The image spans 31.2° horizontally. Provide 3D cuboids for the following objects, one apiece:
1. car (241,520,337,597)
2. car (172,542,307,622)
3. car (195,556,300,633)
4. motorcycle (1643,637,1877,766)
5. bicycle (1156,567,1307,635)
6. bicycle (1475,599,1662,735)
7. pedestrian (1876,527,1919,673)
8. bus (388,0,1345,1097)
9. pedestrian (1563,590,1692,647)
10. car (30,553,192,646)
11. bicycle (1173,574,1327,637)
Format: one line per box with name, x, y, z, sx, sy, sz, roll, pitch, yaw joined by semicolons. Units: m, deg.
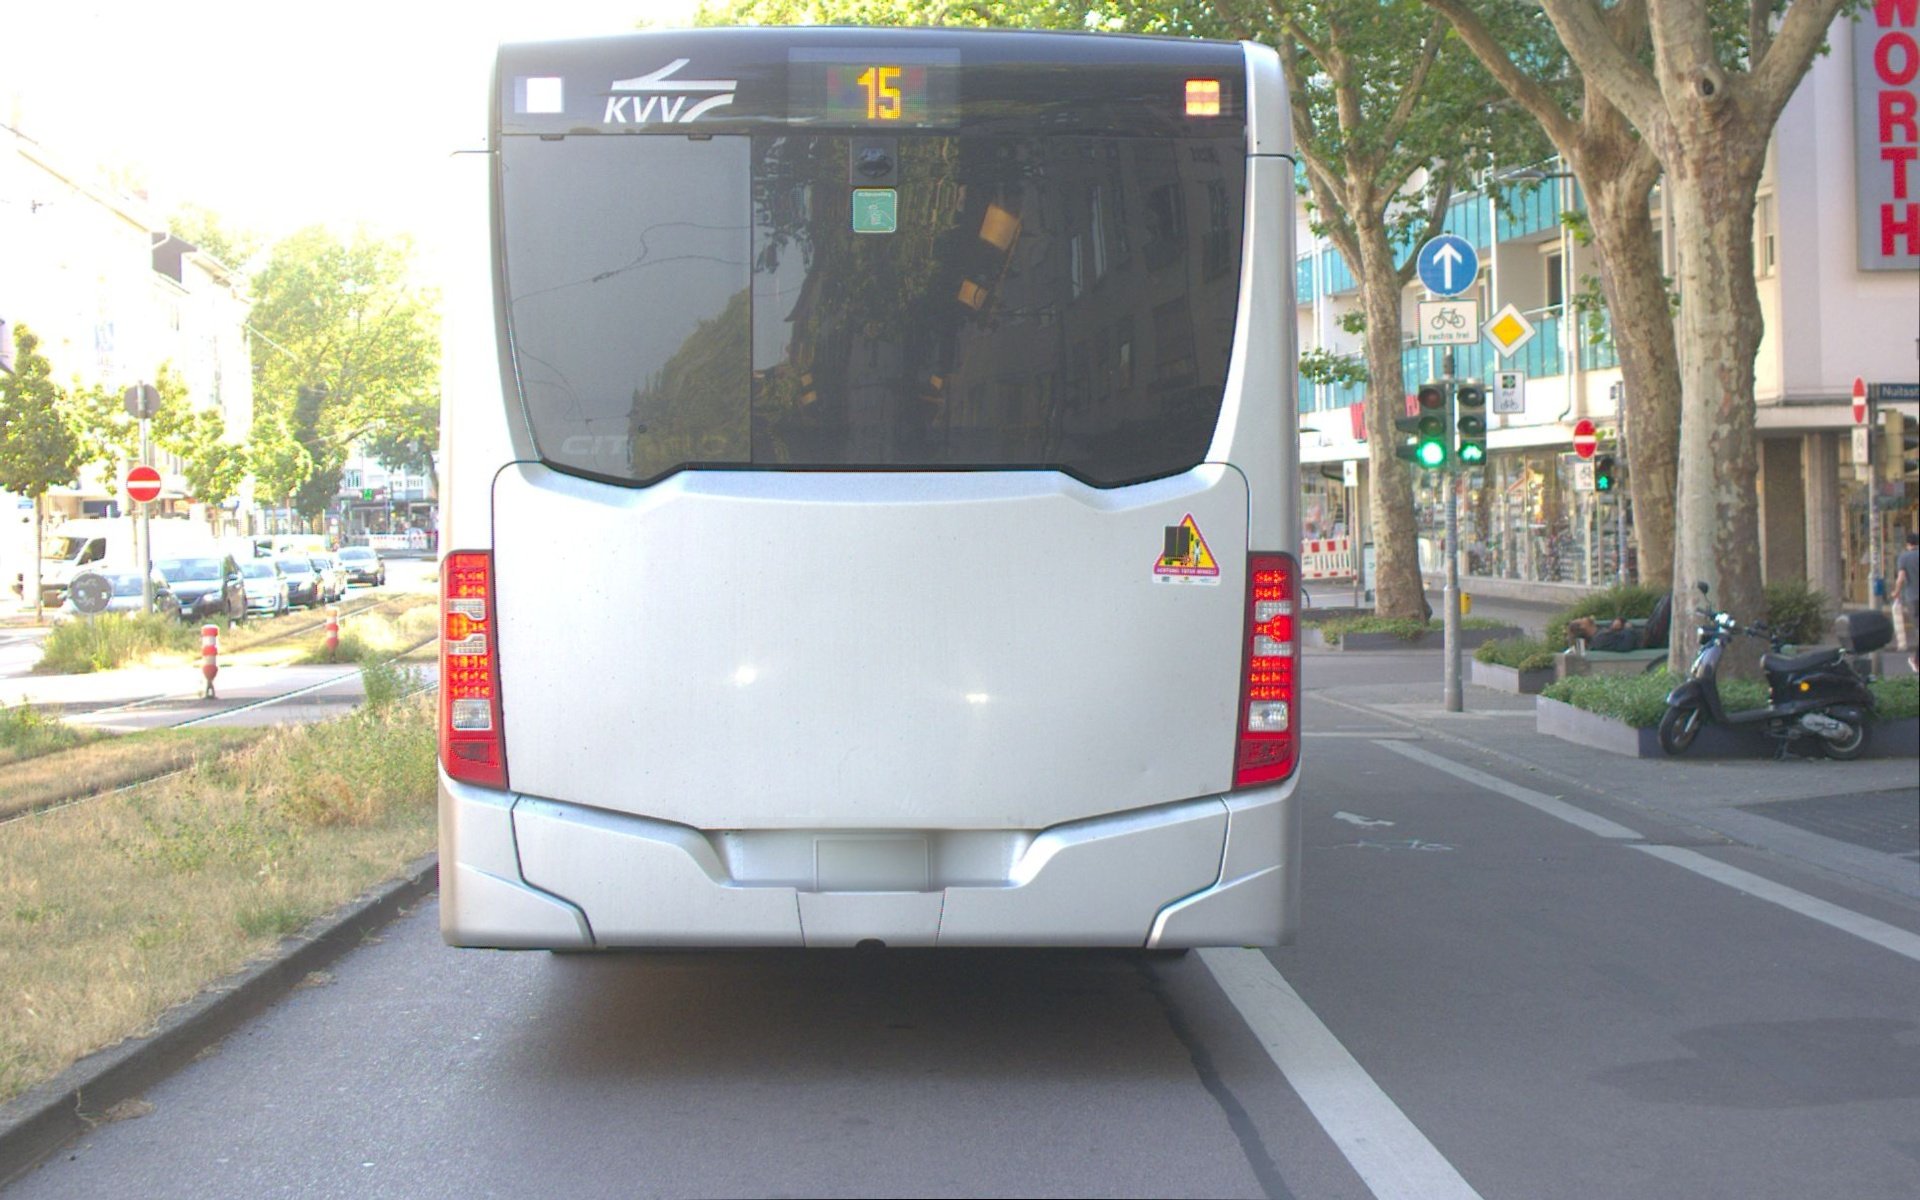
car;-18.181;-1.136;93.357;1.993;2.007;4.001;-1;1;-3
car;-15.126;-0.410;72.354;1.780;1.609;4.508;0;1;1
car;-17.380;-0.148;84.018;1.897;1.798;4.001;-1;1;-3
motorcycle;5.877;0.743;25.303;1.570;0.889;0.544;-1;1;-3
bicycle;4.409;0.007;55.928;2.309;1.025;0.837;-1;2;-8
bicycle;5.296;0.580;29.956;1.509;1.101;0.460;2;1;0
pedestrian;11.896;-0.009;42.731;0.780;1.788;0.764;-1;1;0
bus;-0.239;-0.214;13.203;2.678;3.073;7.114;0;1;0
pedestrian;7.028;0.191;36.204;1.254;0.587;0.482;0;1;-2
car;-15.426;-0.033;62.633;1.780;1.445;4.044;-3;2;1
bicycle;4.615;0.084;54.833;2.309;0.936;0.837;-1;2;-8
